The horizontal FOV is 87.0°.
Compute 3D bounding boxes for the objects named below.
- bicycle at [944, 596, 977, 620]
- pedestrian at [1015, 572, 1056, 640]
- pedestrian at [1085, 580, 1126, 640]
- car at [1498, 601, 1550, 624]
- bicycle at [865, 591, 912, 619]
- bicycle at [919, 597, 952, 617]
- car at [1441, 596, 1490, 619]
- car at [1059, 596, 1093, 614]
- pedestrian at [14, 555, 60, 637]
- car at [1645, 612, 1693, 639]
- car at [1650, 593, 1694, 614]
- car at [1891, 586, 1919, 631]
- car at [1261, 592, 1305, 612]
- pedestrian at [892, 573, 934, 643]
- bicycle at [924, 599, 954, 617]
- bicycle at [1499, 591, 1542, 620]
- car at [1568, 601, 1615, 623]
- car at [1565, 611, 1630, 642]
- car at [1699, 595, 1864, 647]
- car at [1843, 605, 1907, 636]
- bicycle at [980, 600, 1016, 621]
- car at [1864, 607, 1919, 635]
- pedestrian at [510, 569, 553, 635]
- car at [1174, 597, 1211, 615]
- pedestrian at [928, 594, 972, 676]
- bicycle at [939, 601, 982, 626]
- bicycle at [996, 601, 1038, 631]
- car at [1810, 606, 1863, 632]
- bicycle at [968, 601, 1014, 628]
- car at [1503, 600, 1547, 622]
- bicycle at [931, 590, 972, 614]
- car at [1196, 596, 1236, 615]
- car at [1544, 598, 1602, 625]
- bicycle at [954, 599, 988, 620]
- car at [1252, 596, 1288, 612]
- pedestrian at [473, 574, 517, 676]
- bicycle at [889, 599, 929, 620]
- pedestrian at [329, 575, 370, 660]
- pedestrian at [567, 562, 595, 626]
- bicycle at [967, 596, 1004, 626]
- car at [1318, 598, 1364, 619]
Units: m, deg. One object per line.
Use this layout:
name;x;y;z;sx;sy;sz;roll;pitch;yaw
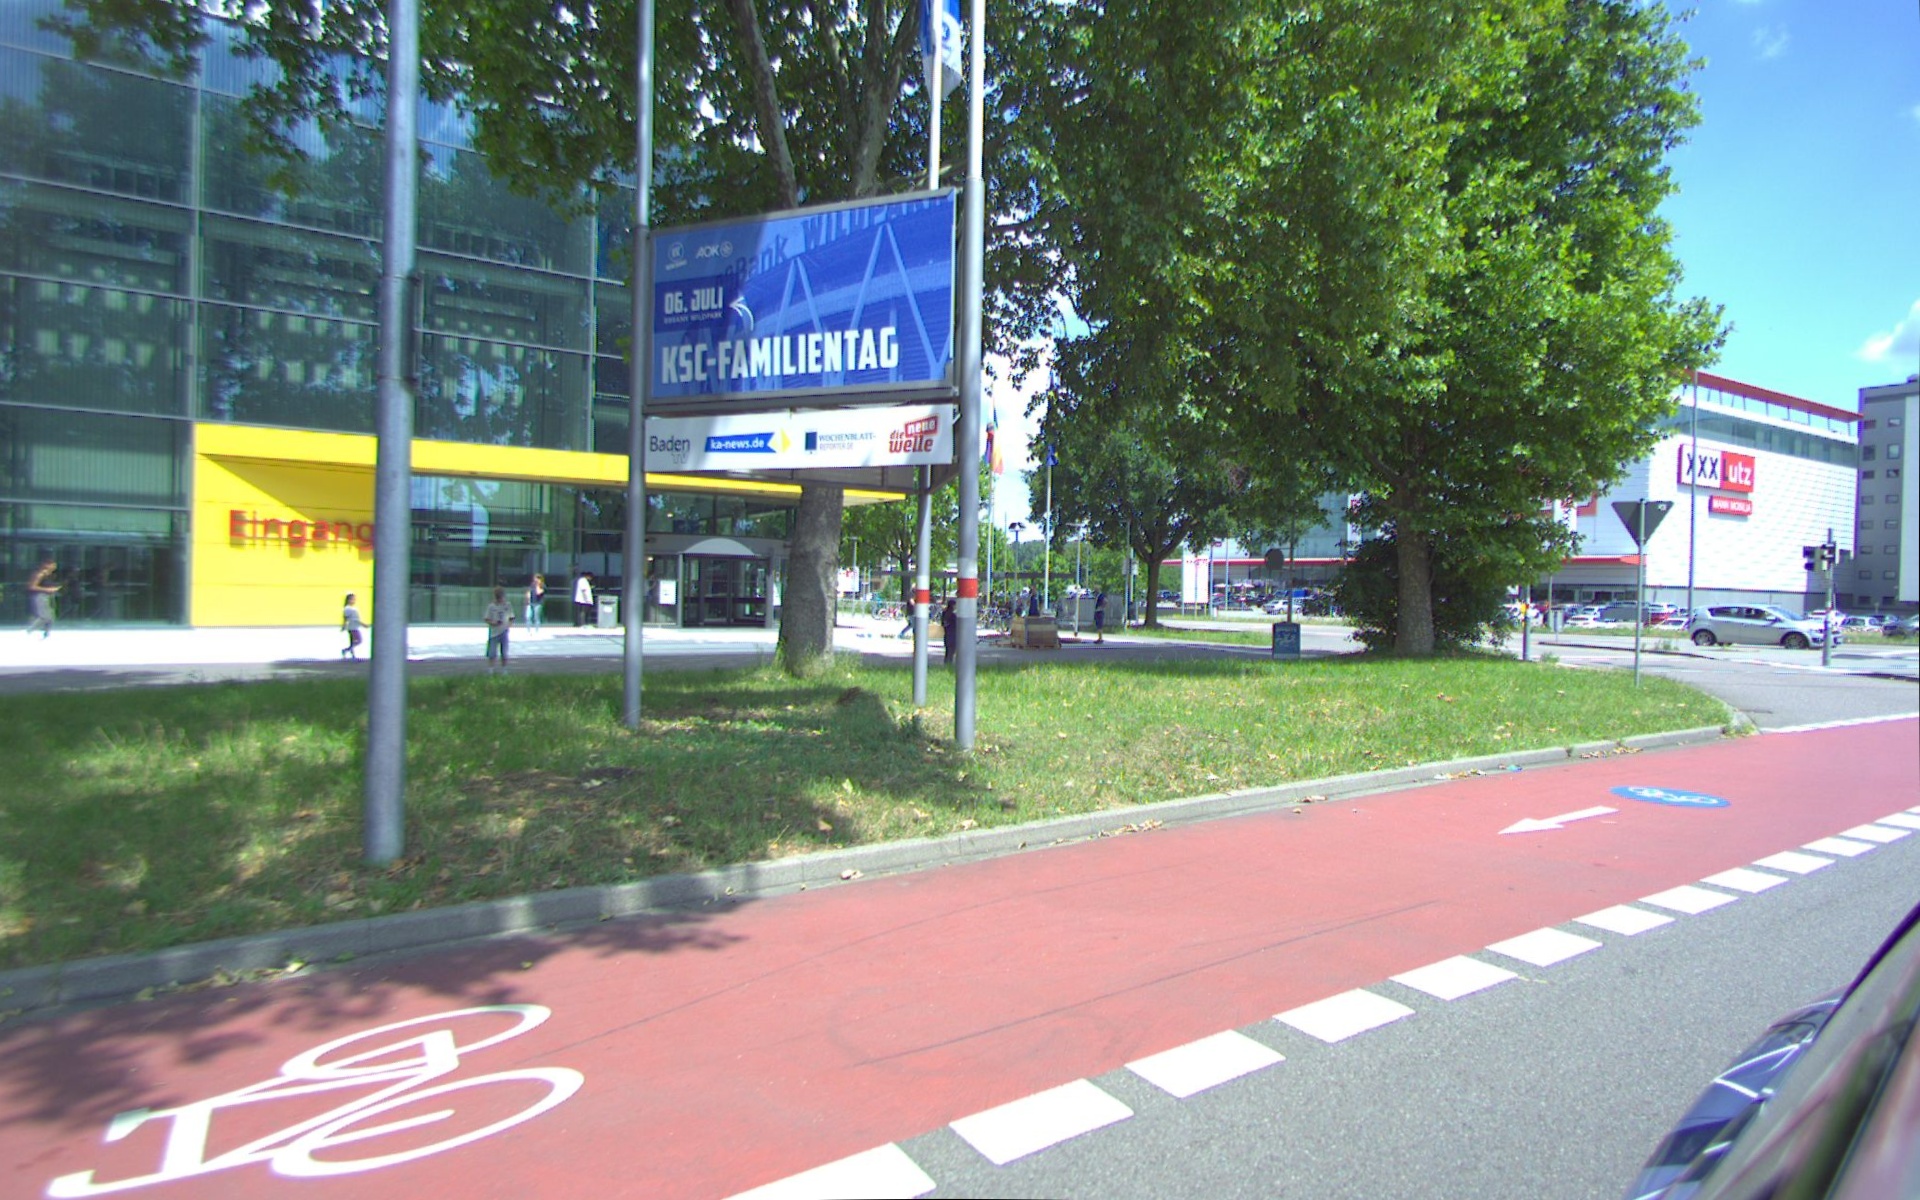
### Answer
bicycle;0.027;0.414;54.066;1.832;1.247;0.424;2;-1;-35
pedestrian;2.385;0.170;31.988;0.989;2.098;0.976;1;1;-16
pedestrian;4.729;0.320;32.948;0.989;1.926;0.976;1;0;-16
car;48.000;1.054;86.083;4.276;1.863;2.002;1;0;-31
bicycle;-3.412;0.239;48.172;2.102;1.245;0.722;2;-1;-20
bicycle;-1.337;0.407;55.706;1.832;1.007;0.424;3;0;-35
car;46.884;0.712;93.783;4.276;2.014;2.002;1;2;-31
car;15.841;0.749;138.329;4.276;2.358;2.002;1;0;-31
pedestrian;-19.592;-0.080;21.484;0.414;1.723;0.543;1;-1;6
car;55.486;1.977;79.171;5.218;2.014;1.996;1;0;-42
car;71.241;0.307;101.230;4.003;2.014;2.003;1;0;-29
car;45.417;0.447;46.533;3.916;2.039;2.004;1;-1;-14
car;33.848;0.221;105.995;4.276;2.014;2.002;1;0;-31
pedestrian;-1.362;0.220;29.357;0.874;1.908;0.970;4;3;13
bicycle;-1.245;0.465;59.947;1.832;1.007;0.424;3;-2;-35
bicycle;33.589;0.293;60.682;1.000;1.697;2.051;2;-1;-30
car;57.904;1.103;92.764;4.004;2.014;2.002;1;0;-31
car;43.329;1.801;68.801;4.276;2.014;2.002;1;0;-31
car;26.909;0.638;33.256;1.863;1.488;3.836;-1;2;-32
car;61.303;1.373;67.789;4.276;2.014;2.002;1;0;-31
bicycle;1.929;0.531;50.784;1.830;1.047;0.424;2;-1;-29
car;69.565;1.545;75.332;4.276;2.014;2.252;1;0;-31
pedestrian;-11.411;0.046;26.972;0.798;1.684;0.696;2;1;30
car;29.037;0.750;126.281;4.215;2.068;1.993;1;0;-31
pedestrian;-0.216;0.749;21.723;0.581;1.684;0.721;3;2;-26
bicycle;0.009;0.543;41.874;1.832;1.007;0.465;1;0;-34
bicycle;2.222;0.611;39.020;0.502;1.121;1.896;3;1;42
car;71.013;1.506;82.017;4.276;2.014;2.002;1;0;-31
bicycle;1.238;0.583;39.850;1.830;1.007;0.424;2;-1;-29
car;55.171;1.067;98.849;4.004;2.014;2.002;1;0;-31
bicycle;-0.380;0.092;44.449;1.832;1.007;0.424;3;0;-35
car;29.267;0.630;115.516;4.276;2.014;2.002;1;0;-31
car;48.603;0.902;80.245;4.506;2.014;2.002;0;1;-31
bicycle;0.601;0.502;52.981;1.832;1.007;0.424;2;1;-35
car;38.886;0.512;126.990;4.276;2.014;2.002;1;0;-31
pedestrian;-8.403;0.434;18.279;0.655;1.794;0.667;1;0;-29
bicycle;-2.302;0.433;46.036;1.832;0.893;0.424;2;-1;-35
pedestrian;-12.130;0.337;20.106;0.653;1.636;0.592;1;2;-34
pedestrian;-11.524;-0.182;30.750;0.765;1.910;0.619;1;-1;-21
bicycle;1.049;0.438;40.934;1.654;1.172;0.460;2;-1;-45
car;37.612;0.785;99.904;4.276;2.014;2.002;0;1;-31
